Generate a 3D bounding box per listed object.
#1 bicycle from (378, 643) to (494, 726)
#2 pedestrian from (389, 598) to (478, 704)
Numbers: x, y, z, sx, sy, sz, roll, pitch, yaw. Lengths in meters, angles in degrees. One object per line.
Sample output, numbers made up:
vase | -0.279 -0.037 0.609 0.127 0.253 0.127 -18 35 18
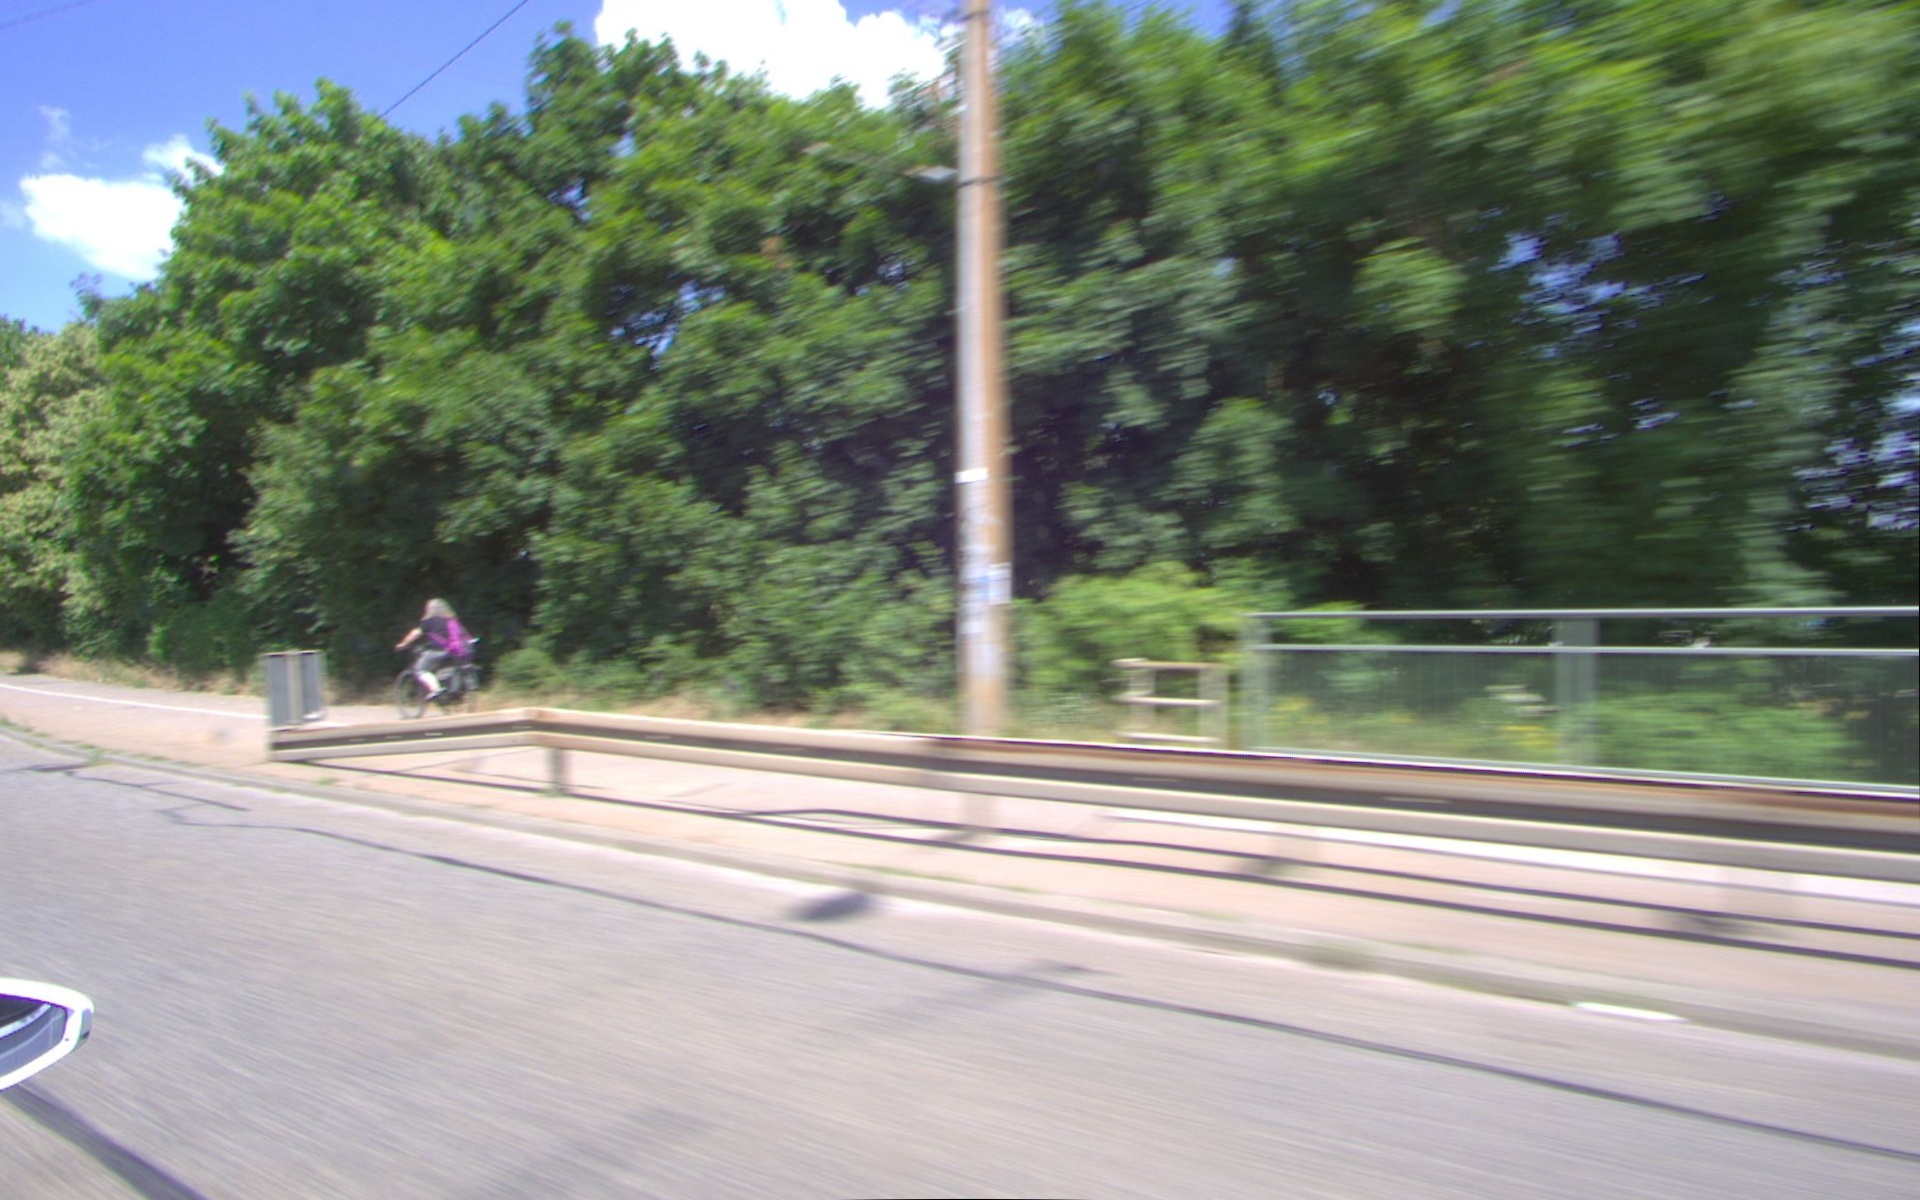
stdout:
bicycle | -7.233 1.133 13.797 1.821 1.038 0.558 -1 1 32
pedestrian | -7.259 0.679 13.804 1.035 1.392 0.626 0 1 32
